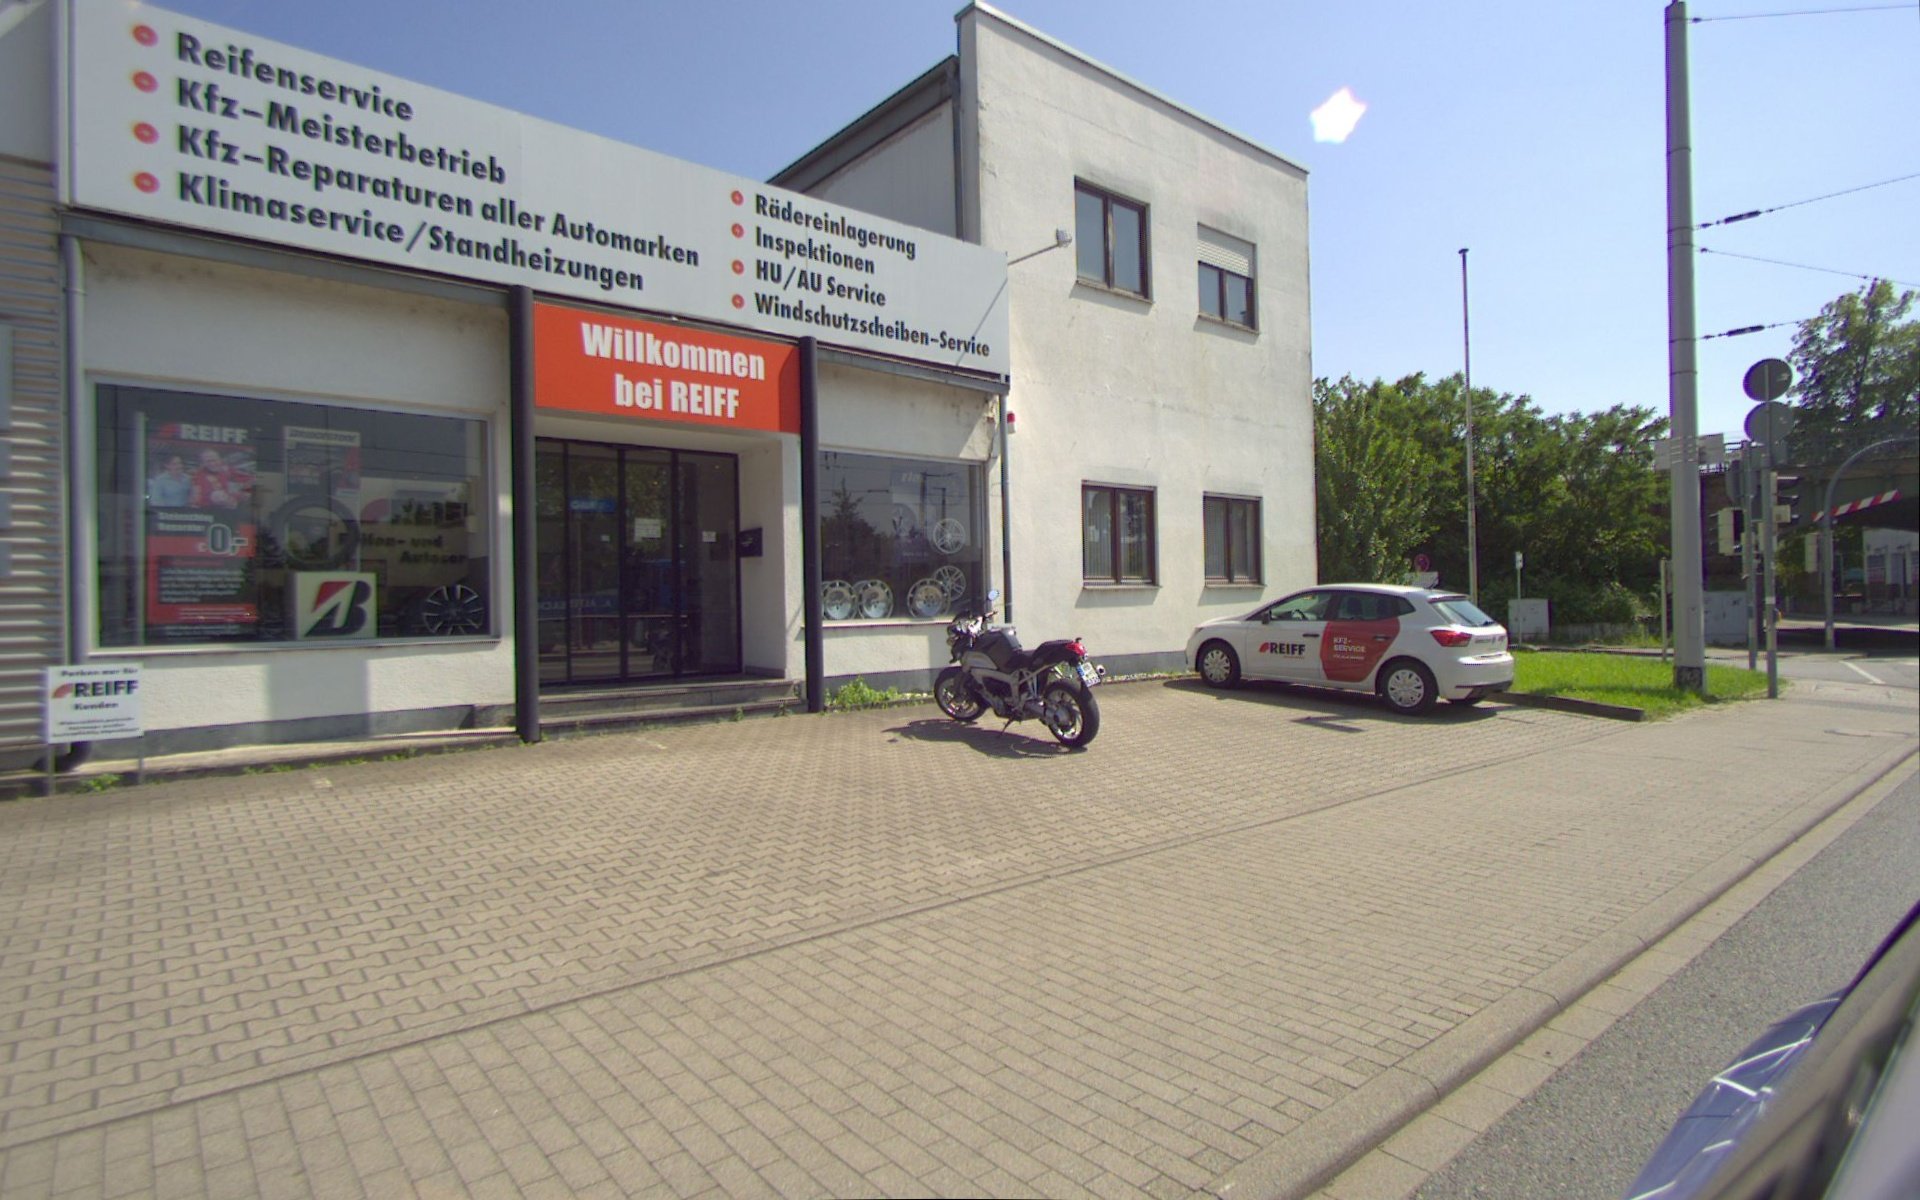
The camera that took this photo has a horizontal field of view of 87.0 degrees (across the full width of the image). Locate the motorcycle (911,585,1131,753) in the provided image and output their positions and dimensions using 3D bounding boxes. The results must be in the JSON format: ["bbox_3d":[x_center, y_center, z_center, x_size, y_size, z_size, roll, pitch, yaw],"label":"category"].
[{"bbox_3d":[0.502,0.556,9.449,0.718,1.324,2.187,-1,3,-41],"label":"motorcycle"}]

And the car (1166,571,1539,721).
[{"bbox_3d":[4.813,0.438,12.844,1.857,1.480,3.995,-1,3,-41],"label":"car"}]
